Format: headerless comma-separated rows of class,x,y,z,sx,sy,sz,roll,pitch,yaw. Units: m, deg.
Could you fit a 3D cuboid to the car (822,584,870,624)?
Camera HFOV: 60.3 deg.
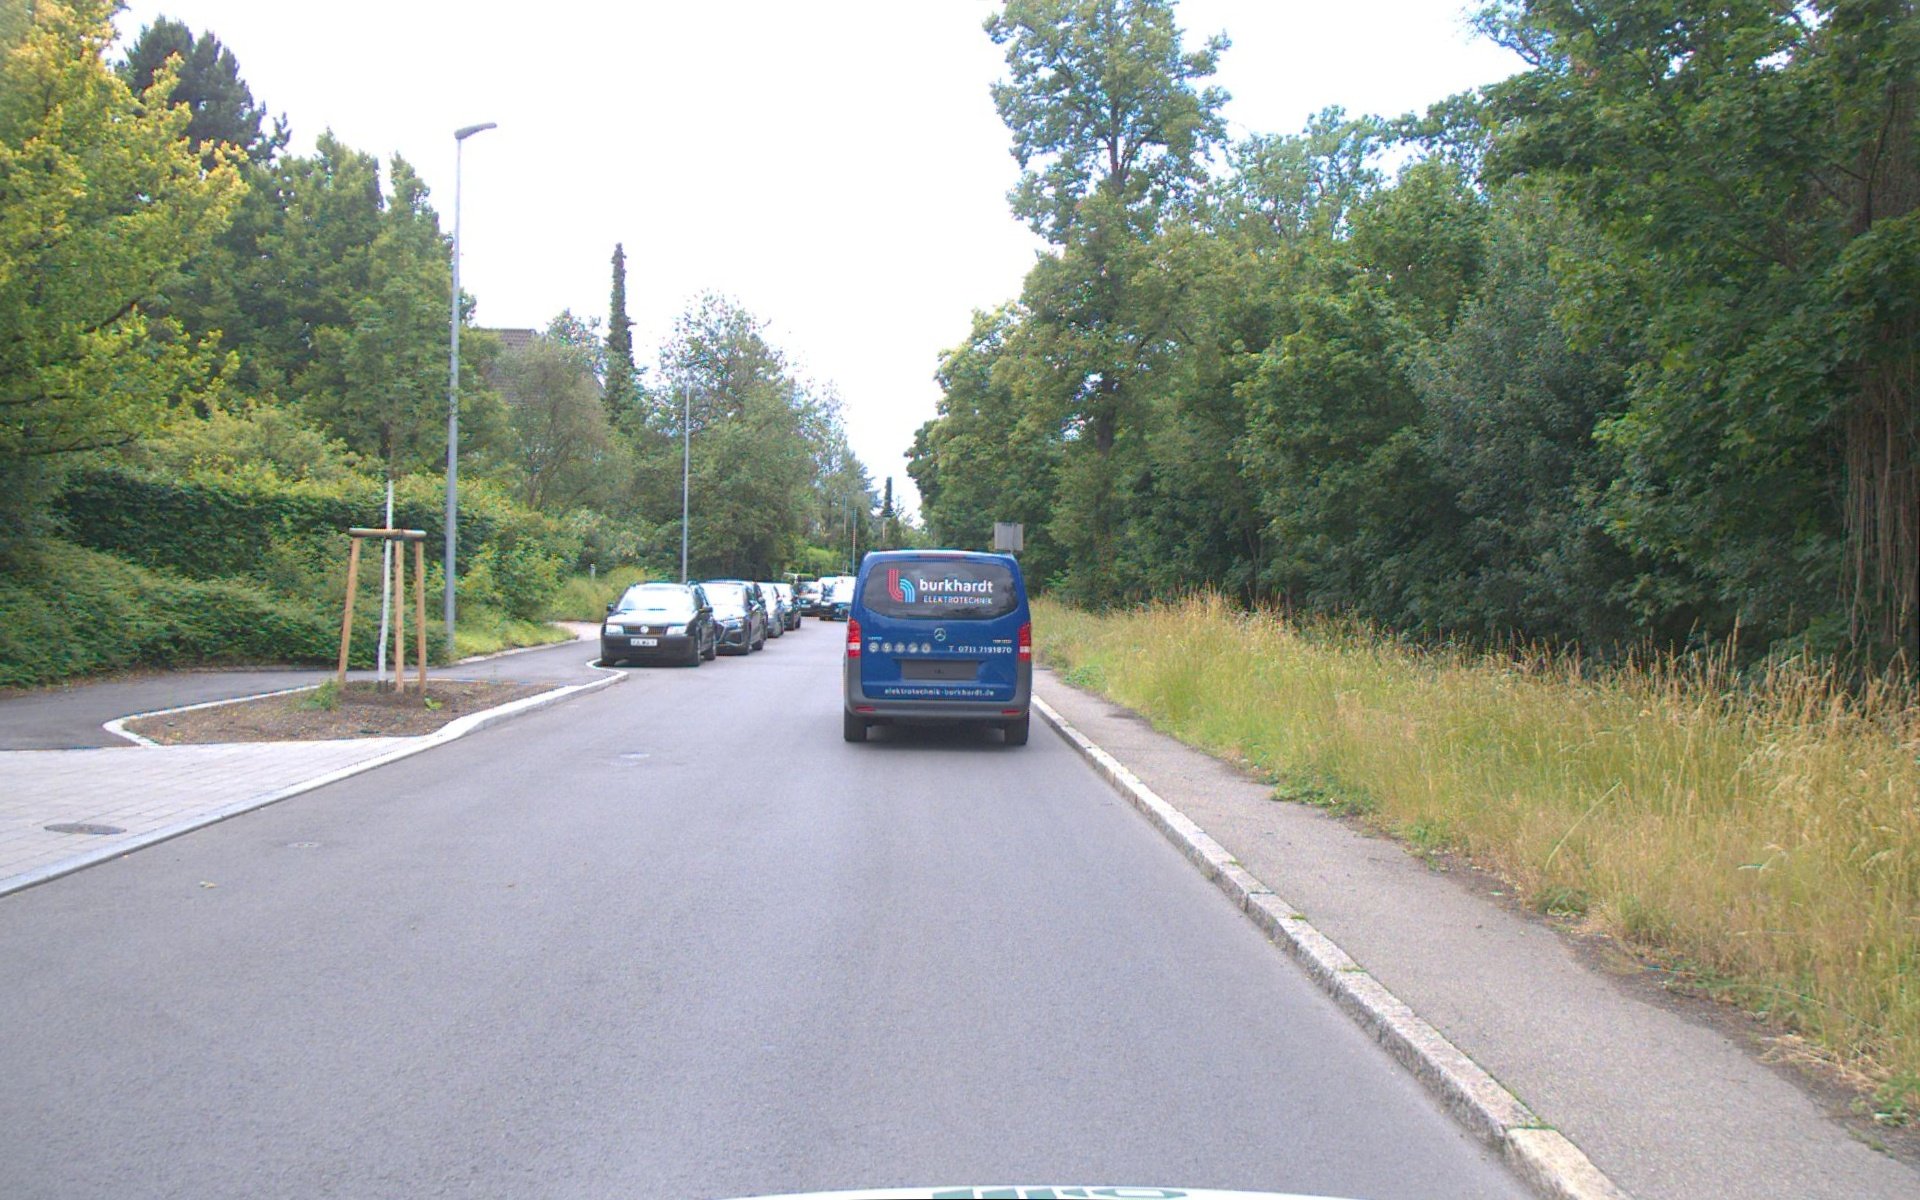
car,-4.507,0.141,65.666,1.745,1.450,4.487,2,0,-3

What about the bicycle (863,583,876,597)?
bicycle,-8.696,-0.942,159.339,0.887,1.273,2.916,5,0,2

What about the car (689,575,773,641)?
car,-5.551,0.173,40.519,1.591,1.508,3.999,1,0,-2

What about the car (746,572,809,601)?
car,-11.917,-0.909,107.969,3.614,1.666,1.830,3,0,12

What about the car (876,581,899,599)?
car,-7.071,-0.959,162.246,1.798,1.659,4.301,4,0,2

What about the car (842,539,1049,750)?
car,-0.259,0.349,17.338,1.851,1.876,3.998,2,2,-4

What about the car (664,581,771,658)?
car,-5.104,0.365,35.311,1.672,1.508,4.495,1,0,-1

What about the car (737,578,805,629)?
car,-5.870,0.090,51.893,1.743,1.457,5.103,2,0,-3

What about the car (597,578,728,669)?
car,-5.361,0.377,30.330,1.648,1.508,4.691,1,0,-2

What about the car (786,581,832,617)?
car,-6.538,-0.074,72.097,1.589,1.475,3.969,1,0,0

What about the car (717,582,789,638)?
car,-5.633,0.242,45.411,1.591,1.457,4.349,1,0,-3
